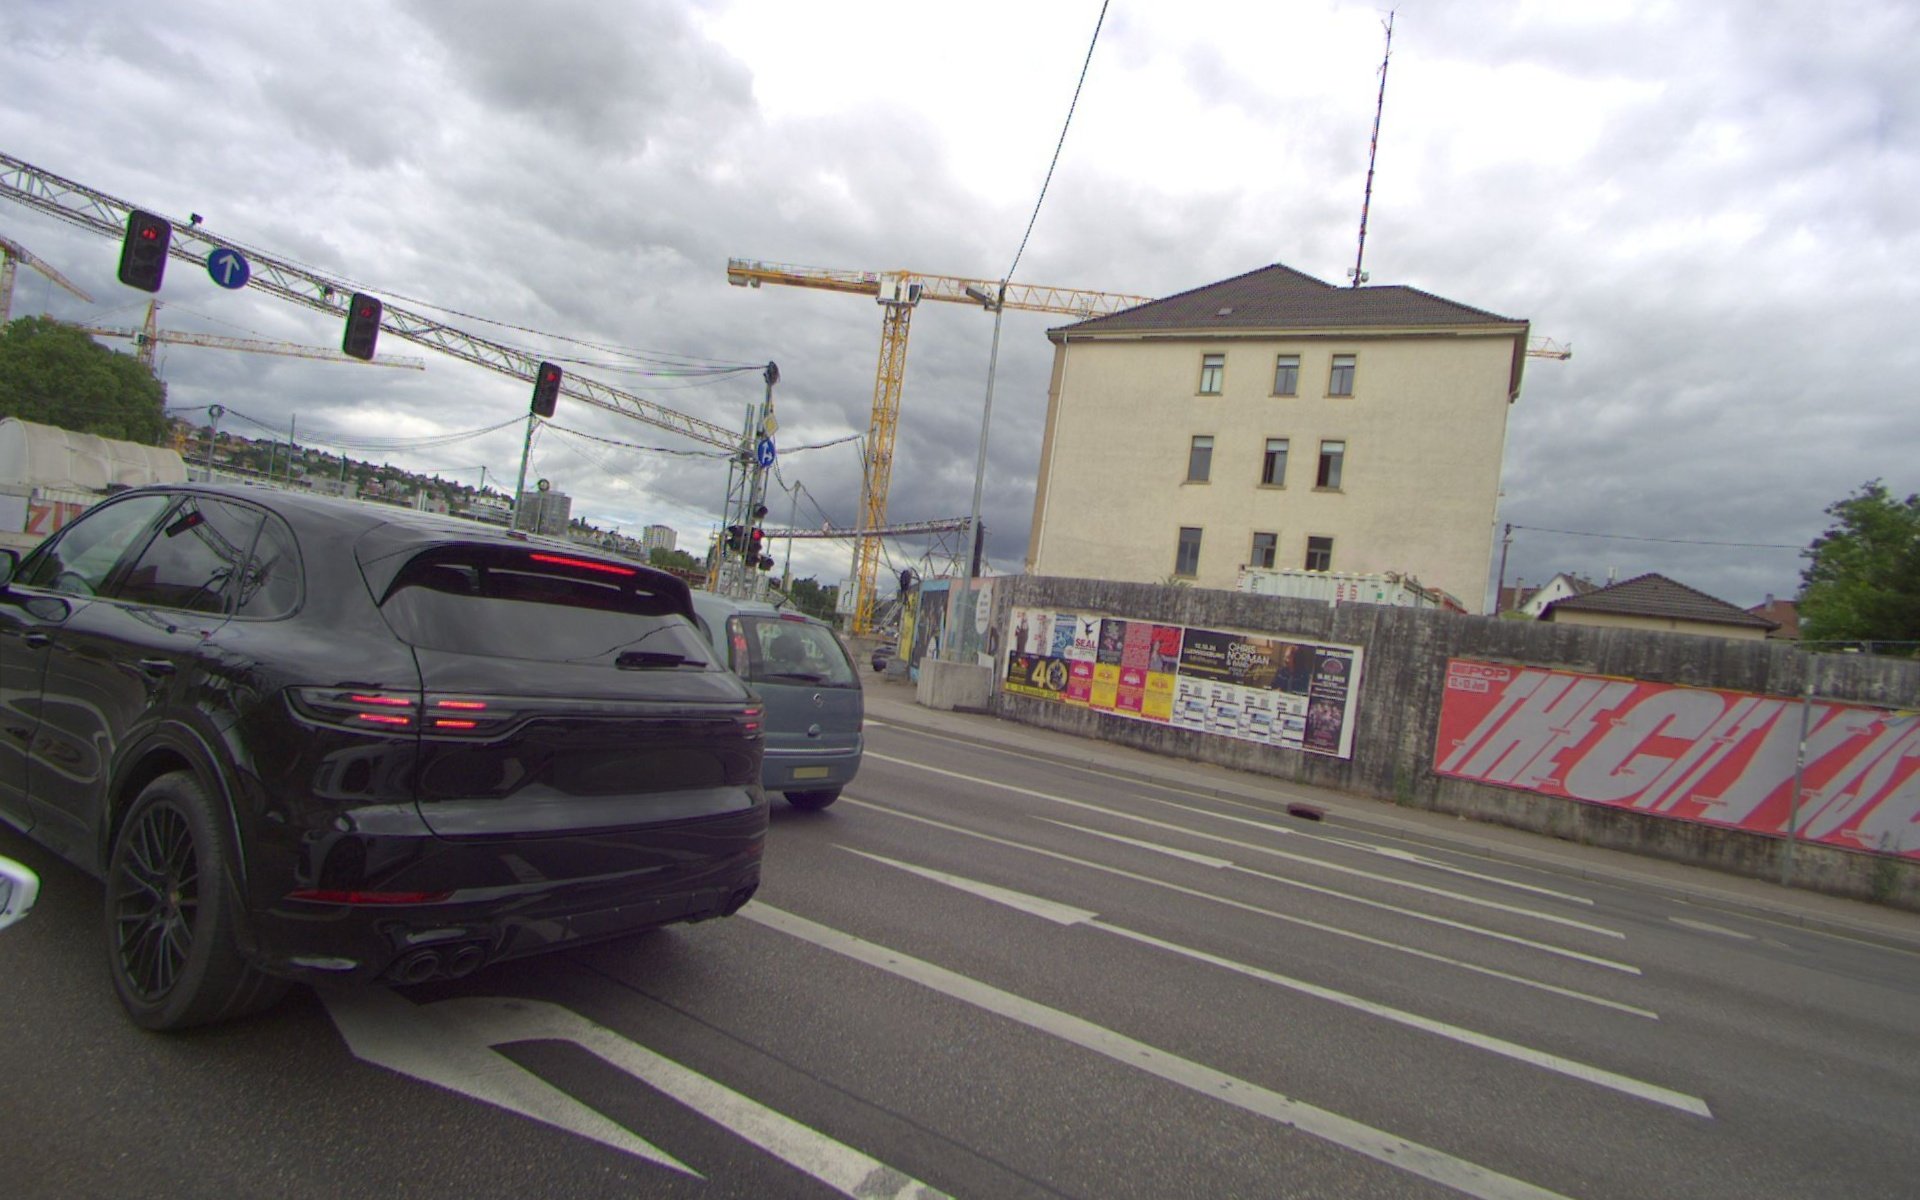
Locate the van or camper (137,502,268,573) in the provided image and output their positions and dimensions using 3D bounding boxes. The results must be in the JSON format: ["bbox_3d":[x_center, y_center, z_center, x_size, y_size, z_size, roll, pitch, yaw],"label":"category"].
[{"bbox_3d":[-33.551,-2.731,44.609,1.975,2.384,4.206,6,-3,45],"label":"van or camper"}]

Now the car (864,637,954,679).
[{"bbox_3d":[-2.340,2.732,47.082,1.970,1.436,3.990,7,-3,38],"label":"car"}]

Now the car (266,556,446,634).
[{"bbox_3d":[-17.598,-0.092,29.525,1.769,1.687,4.067,7,-3,26],"label":"car"}]

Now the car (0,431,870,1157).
[{"bbox_3d":[-2.903,0.357,4.444,4.558,1.705,1.960,7,-2,32],"label":"car"}]

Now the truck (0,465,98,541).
[{"bbox_3d":[-62.122,-6.722,62.477,3.875,4.086,13.089,8,-2,11],"label":"truck"}]

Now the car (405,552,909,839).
[{"bbox_3d":[-2.543,0.663,8.206,3.817,1.561,1.667,7,-2,32],"label":"car"}]

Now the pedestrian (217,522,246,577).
[{"bbox_3d":[-28.455,-1.972,39.306,0.648,2.037,0.513,9,-1,-35],"label":"pedestrian"}]
